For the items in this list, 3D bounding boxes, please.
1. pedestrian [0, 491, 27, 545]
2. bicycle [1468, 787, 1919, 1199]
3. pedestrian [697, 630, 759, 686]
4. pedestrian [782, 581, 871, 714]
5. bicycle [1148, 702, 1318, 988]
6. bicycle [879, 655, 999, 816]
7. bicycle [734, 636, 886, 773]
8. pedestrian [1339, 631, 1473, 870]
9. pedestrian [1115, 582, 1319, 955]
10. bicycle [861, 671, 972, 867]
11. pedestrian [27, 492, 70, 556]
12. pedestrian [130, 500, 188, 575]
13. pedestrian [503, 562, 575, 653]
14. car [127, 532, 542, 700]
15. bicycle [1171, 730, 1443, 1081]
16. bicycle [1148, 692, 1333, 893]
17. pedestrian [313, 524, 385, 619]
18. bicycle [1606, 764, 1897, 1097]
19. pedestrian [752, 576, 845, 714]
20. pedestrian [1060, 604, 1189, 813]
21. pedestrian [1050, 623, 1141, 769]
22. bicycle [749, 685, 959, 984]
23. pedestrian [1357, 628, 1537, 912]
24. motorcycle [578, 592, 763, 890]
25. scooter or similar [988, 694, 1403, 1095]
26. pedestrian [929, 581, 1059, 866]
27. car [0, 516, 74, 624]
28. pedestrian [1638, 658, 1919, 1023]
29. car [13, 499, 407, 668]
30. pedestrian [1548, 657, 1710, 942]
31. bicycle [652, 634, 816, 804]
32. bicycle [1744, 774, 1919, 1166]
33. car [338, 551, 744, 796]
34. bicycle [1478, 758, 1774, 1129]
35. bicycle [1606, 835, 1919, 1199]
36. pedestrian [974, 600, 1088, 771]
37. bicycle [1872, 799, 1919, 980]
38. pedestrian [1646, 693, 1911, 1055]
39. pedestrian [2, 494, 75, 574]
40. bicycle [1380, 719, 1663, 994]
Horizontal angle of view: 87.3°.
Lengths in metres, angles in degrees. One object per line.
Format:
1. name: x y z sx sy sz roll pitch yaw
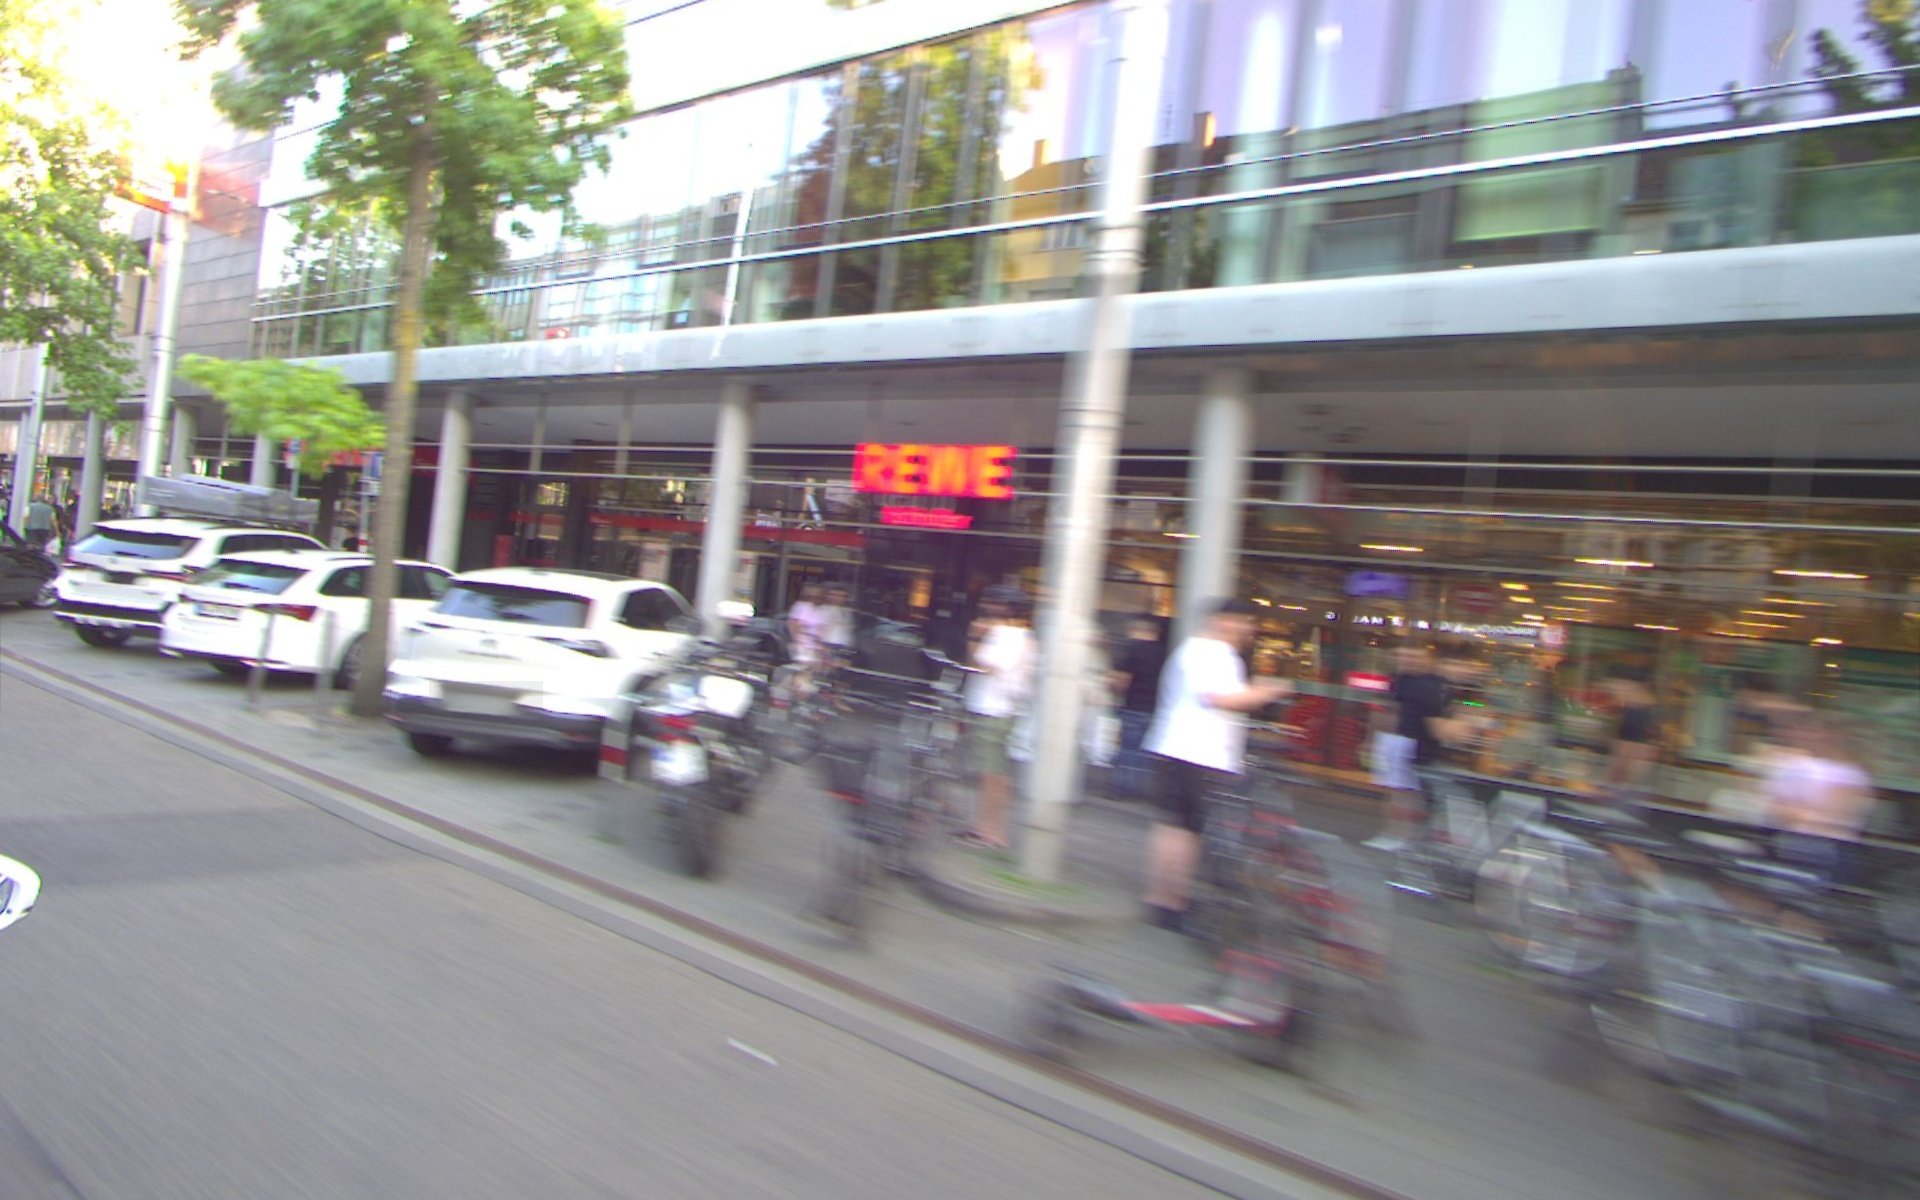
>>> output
1. pedestrian: -30.800 -2.655 32.577 0.816 1.637 0.596 8 2 33
2. bicycle: 2.697 1.472 3.615 0.667 1.144 1.993 7 1 3
3. pedestrian: -3.683 0.925 15.950 0.654 0.791 0.607 6 -1 35
4. pedestrian: -1.852 0.663 13.966 0.792 1.719 0.663 6 -2 32
5. bicycle: 1.603 1.316 5.999 0.685 1.163 2.000 7 1 14
6. bicycle: -0.138 1.143 9.039 0.828 1.131 1.791 6 0 3
7. bicycle: -1.440 0.986 10.080 0.918 1.131 1.750 6 0 9
8. pedestrian: 3.746 1.224 8.442 0.706 1.836 0.657 7 2 37
9. pedestrian: 1.560 0.925 6.016 0.847 1.939 0.951 8 3 21
10. bicycle: -0.275 1.156 7.316 0.543 1.048 1.595 6 3 3
11. pedestrian: -24.935 -2.082 27.512 0.743 1.637 0.596 8 2 33
12. pedestrian: -21.758 -1.684 27.318 0.928 1.859 0.833 8 1 33
13. pedestrian: -7.753 0.135 18.522 0.957 1.545 0.660 6 -1 35
14. car: -7.100 0.155 12.044 1.828 1.476 4.184 6 1 10
15. bicycle: 1.588 1.356 4.978 0.612 1.090 1.832 7 1 1
16. bicycle: 2.046 1.372 7.640 0.809 1.107 1.833 7 0 2
17. pedestrian: -12.535 -0.578 20.637 0.743 1.805 0.878 8 2 32
18. bicycle: 3.998 1.583 5.247 0.492 1.164 1.695 7 1 17
19. pedestrian: -2.149 0.599 13.407 0.792 1.719 0.681 6 -2 32
20. pedestrian: 1.540 1.009 9.471 0.781 1.836 0.656 6 1 -22
21. pedestrian: 1.568 1.099 11.615 0.654 1.566 0.681 6 -2 32
22. bicycle: -0.482 1.131 5.409 0.792 1.131 1.749 7 0 1
23. pedestrian: 3.434 1.170 7.122 0.652 1.836 0.712 6 1 -27
24. motorcycle: -1.756 0.759 6.470 0.783 1.490 2.200 7 1 -11
25. scooter or similar: 0.910 1.159 4.138 1.369 1.320 0.696 7 1 -6
26. pedestrian: 0.212 0.821 7.092 0.590 1.837 0.817 7 3 -6
27. car: -13.645 -0.500 13.327 1.787 1.364 4.414 8 -1 -28
28. pedestrian: 4.811 1.331 5.851 0.875 1.836 0.932 6 1 -22
29. car: -9.487 -0.206 13.266 1.885 1.659 4.205 6 1 1
30. pedestrian: 4.656 1.334 7.025 0.720 1.776 0.714 7 1 34
31. bicycle: -1.818 0.923 8.411 0.902 1.131 1.749 6 0 -2
32. bicycle: 4.063 1.519 4.000 0.668 1.290 1.833 7 1 14
33. car: -3.484 0.508 9.404 1.842 1.583 4.341 6 1 0
34. bicycle: 3.022 1.467 4.764 0.469 1.153 1.687 7 1 13
35. bicycle: 2.952 1.540 3.288 0.485 1.090 1.748 7 1 3
36. pedestrian: 0.791 0.932 11.072 0.792 1.719 0.681 8 0 32
37. bicycle: 6.757 1.931 5.944 0.568 1.096 1.866 6 1 -34
38. pedestrian: 4.203 1.365 5.195 0.696 1.645 0.656 6 1 -22
39. pedestrian: -20.580 -1.460 22.473 0.743 1.599 0.879 8 -1 32
40. bicycle: 3.365 1.481 6.239 0.545 1.205 1.693 7 1 -5
